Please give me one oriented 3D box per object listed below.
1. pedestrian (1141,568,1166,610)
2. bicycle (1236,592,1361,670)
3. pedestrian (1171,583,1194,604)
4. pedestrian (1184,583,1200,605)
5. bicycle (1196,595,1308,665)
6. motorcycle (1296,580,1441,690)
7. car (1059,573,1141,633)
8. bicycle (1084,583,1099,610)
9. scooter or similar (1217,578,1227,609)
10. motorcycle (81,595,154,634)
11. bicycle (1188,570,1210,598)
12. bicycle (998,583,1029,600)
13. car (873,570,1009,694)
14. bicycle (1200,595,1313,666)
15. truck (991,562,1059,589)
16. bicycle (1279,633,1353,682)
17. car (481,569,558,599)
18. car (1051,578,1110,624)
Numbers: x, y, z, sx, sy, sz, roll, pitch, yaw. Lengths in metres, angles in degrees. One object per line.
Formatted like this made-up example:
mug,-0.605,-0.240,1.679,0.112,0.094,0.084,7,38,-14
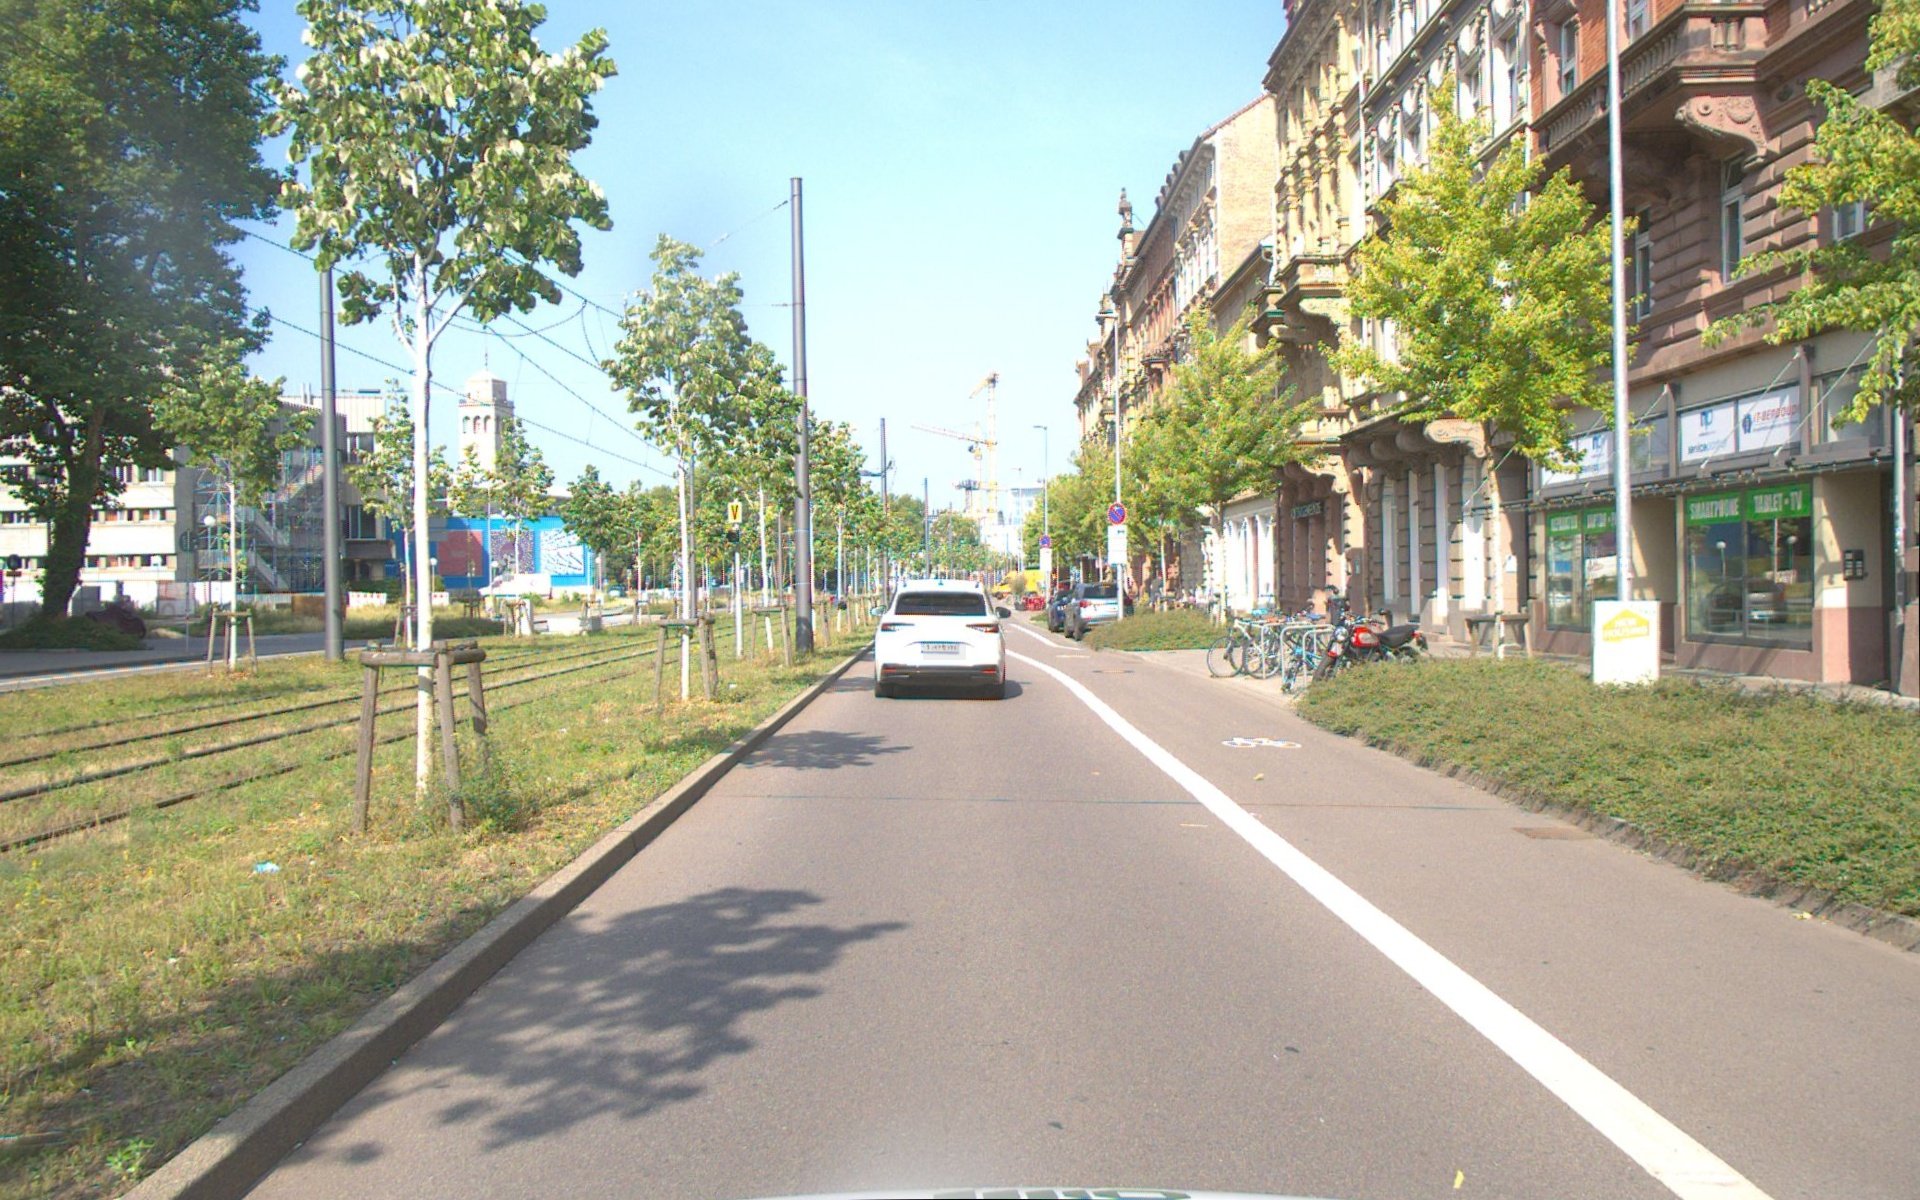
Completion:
pedestrian,8.269,-0.476,70.725,0.807,1.726,0.792,-3,1,-5
bicycle,5.317,0.479,26.043,1.772,1.115,0.671,-3,1,-6
pedestrian,9.670,-0.285,71.868,0.860,0.892,0.710,-3,1,-4
pedestrian,9.835,-0.249,70.175,0.559,0.869,0.457,-3,1,-6
bicycle,4.868,0.495,27.599,1.749,1.072,0.372,-3,1,-2
motorcycle,5.433,0.436,21.927,2.019,1.309,0.696,-4,2,-36
car,4.055,0.060,48.611,1.735,1.616,4.245,-2,1,-4
bicycle,5.567,-0.140,70.117,0.482,1.113,1.826,-1,1,0
scooter or similar,9.868,-0.262,62.339,0.282,1.154,1.089,-1,1,5
motorcycle,-31.085,0.527,61.039,2.273,1.392,0.807,-1,1,-38
bicycle,9.678,-0.652,66.897,0.442,1.102,1.445,-1,1,-10
bicycle,3.905,-0.608,121.107,2.193,1.123,0.588,-3,0,1
car,-0.260,0.398,23.939,1.780,1.617,4.406,0,1,0
bicycle,4.868,0.497,27.200,1.749,1.072,0.372,-3,1,-2
truck,5.938,-2.265,150.563,5.754,2.358,2.218,-1,1,26
bicycle,4.997,0.808,23.253,0.938,0.620,0.360,-3,0,0
car,-41.489,-1.506,155.916,6.777,2.684,2.498,1,0,-22
car,4.051,0.010,56.231,1.701,1.420,4.715,-2,1,1
